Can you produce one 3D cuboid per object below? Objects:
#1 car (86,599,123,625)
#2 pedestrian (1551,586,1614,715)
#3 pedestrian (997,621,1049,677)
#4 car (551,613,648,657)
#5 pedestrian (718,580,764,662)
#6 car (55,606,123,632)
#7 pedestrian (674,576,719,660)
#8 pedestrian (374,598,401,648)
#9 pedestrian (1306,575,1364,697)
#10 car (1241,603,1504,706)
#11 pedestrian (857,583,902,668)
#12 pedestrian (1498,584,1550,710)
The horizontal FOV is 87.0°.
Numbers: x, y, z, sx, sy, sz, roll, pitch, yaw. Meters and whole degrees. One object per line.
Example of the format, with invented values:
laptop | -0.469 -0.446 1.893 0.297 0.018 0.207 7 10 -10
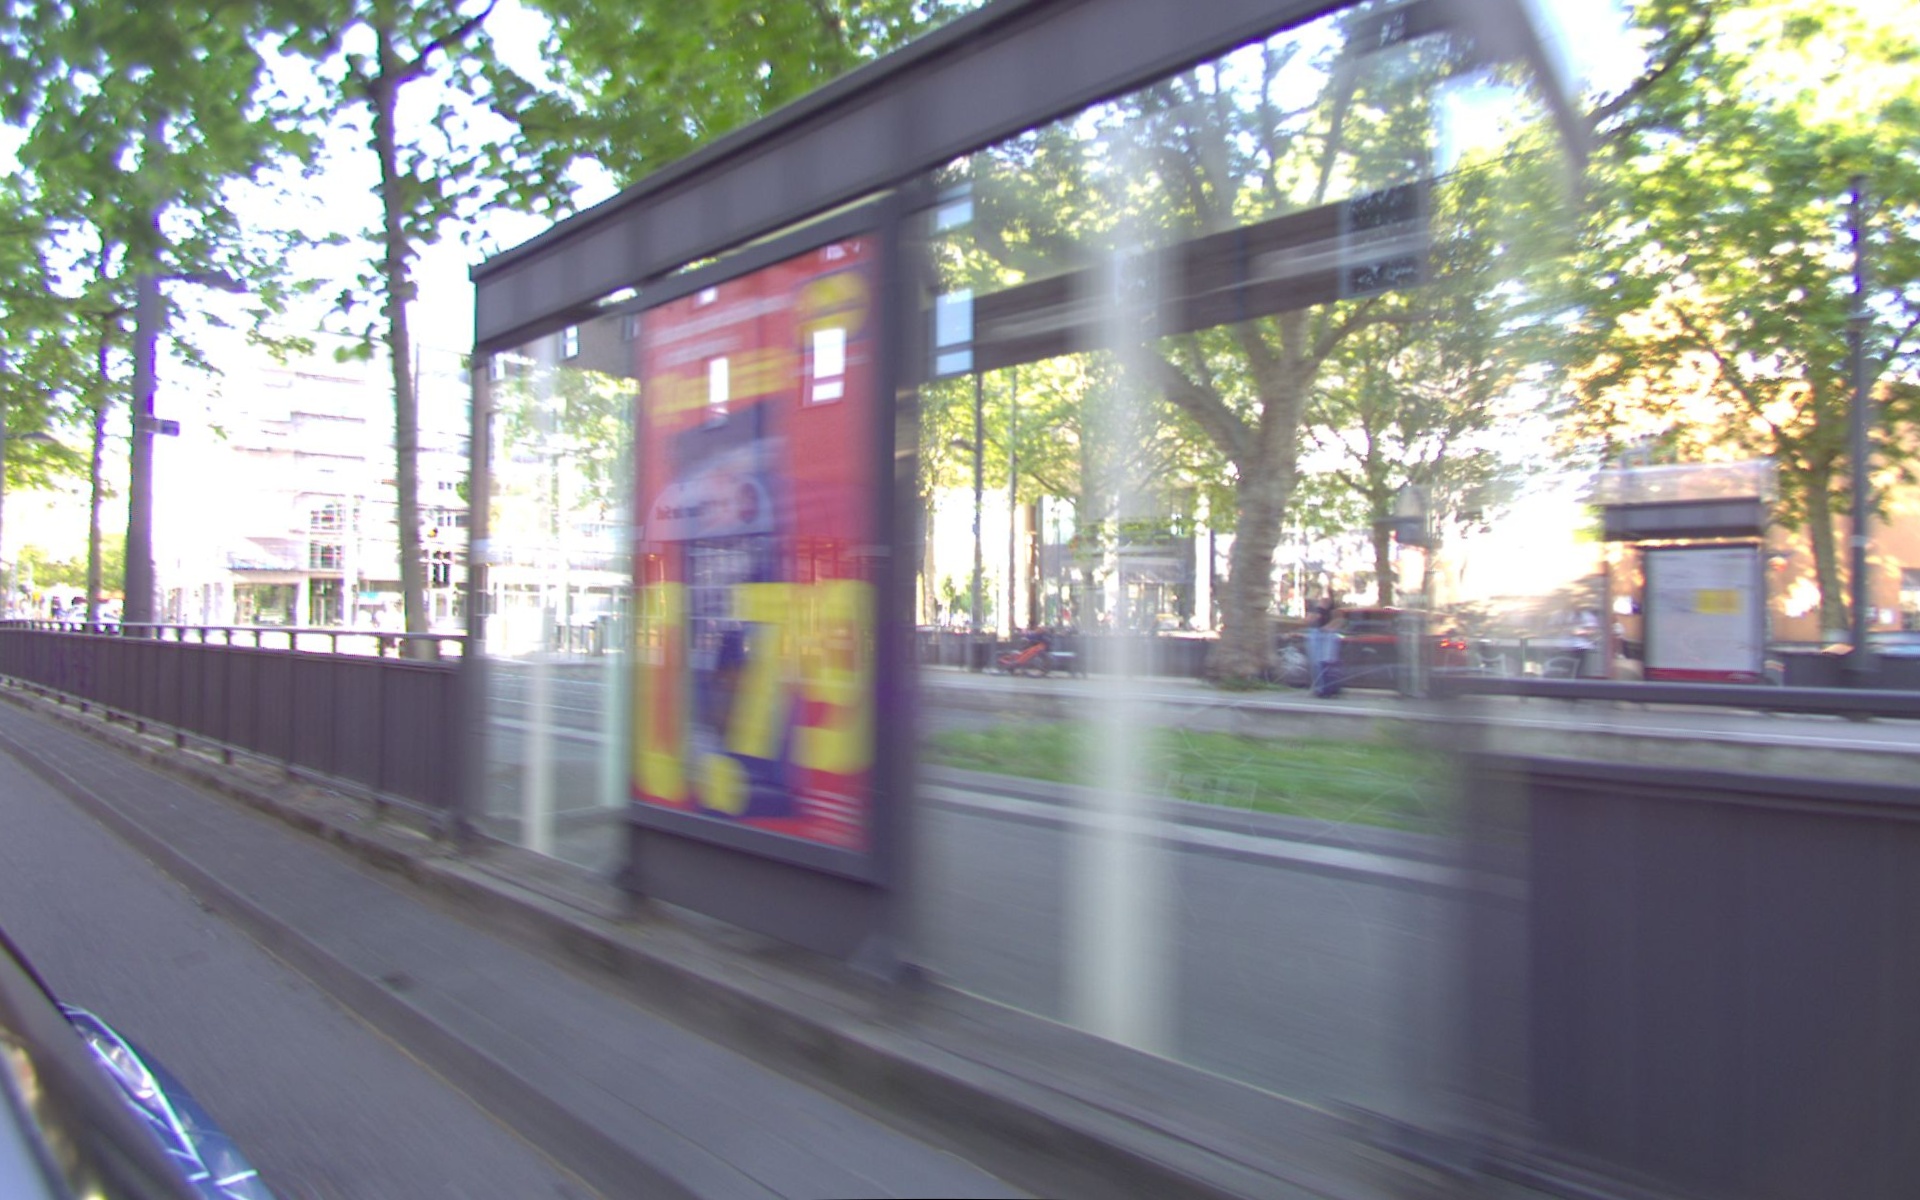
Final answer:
car | -61.243 0.837 72.418 1.969 1.796 4.006 -1 0 -41
pedestrian | 7.422 0.589 12.086 0.605 1.497 0.566 0 -1 29
pedestrian | 1.211 0.934 19.509 0.713 1.048 0.699 1 -2 -42
car | -12.833 1.214 35.938 3.340 1.466 1.847 0 -1 41
pedestrian | -4.713 0.448 21.786 0.697 1.709 0.678 0 -1 32
car | -51.493 1.135 59.915 1.877 1.494 4.301 1 -1 -24
pedestrian | -5.650 0.390 21.709 0.674 1.767 0.649 0 -1 32
pedestrian | -19.874 0.791 35.134 0.501 1.698 0.640 -1 -2 38
pedestrian | 5.246 0.493 14.138 0.666 1.654 0.662 0 -1 29
car | 7.399 0.916 18.326 3.999 1.652 1.972 0 -2 42
pedestrian | -1.691 0.536 21.251 0.635 1.753 0.690 0 -1 32
pedestrian | 6.978 0.573 12.538 0.549 1.509 0.549 0 -1 29
